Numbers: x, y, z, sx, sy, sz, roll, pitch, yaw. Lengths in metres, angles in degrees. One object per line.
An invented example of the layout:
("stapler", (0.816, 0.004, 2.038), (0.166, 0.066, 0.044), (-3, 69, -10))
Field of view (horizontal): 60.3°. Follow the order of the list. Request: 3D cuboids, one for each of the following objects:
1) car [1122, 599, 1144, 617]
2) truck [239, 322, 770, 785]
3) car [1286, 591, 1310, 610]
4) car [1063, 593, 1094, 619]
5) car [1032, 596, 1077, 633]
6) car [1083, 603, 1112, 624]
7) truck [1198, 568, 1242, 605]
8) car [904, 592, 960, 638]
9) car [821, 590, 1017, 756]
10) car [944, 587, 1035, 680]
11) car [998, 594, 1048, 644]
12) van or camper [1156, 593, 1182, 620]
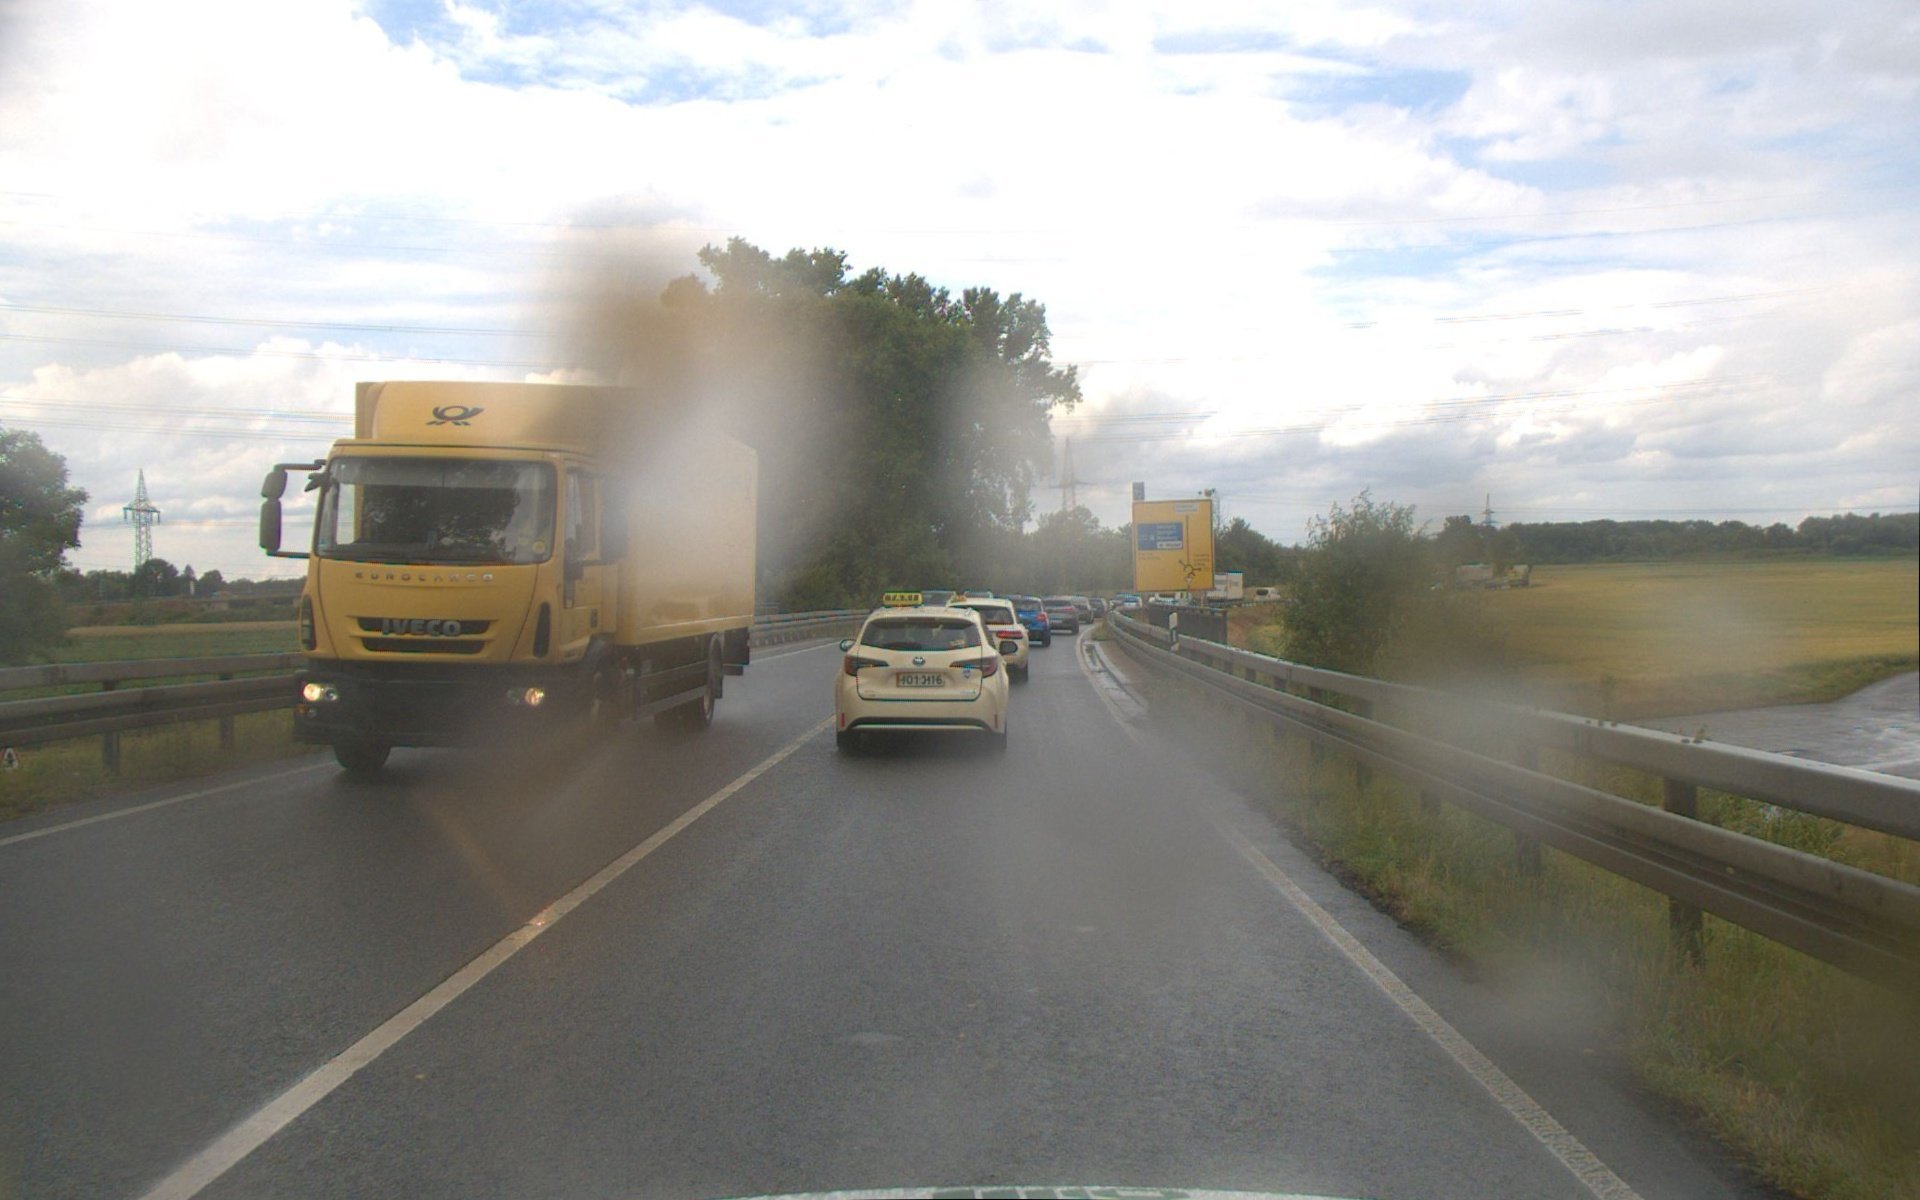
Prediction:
("car", (13.090, 0.636, 125.235), (1.451, 1.332, 3.479), (0, 0, 9))
("truck", (-4.015, -0.376, 17.250), (2.713, 3.489, 9.189), (1, 0, 1))
("car", (41.903, 0.069, 205.118), (1.954, 2.049, 3.996), (-3, -3, 25))
("car", (6.772, 0.347, 94.339), (1.625, 1.434, 3.907), (0, -1, 6))
("car", (3.882, 0.582, 67.478), (1.630, 1.490, 3.479), (0, 0, 7))
("car", (8.964, 0.898, 107.698), (1.451, 1.332, 3.479), (0, 0, 12))
("truck", (26.705, -1.310, 169.724), (3.075, 3.624, 7.522), (0, -1, 20))
("car", (-1.065, 0.543, 64.196), (1.709, 1.682, 4.527), (0, 1, 5))
("car", (-0.321, 0.701, 17.859), (1.866, 1.564, 4.162), (0, 0, 2))
("car", (0.591, 0.584, 30.491), (1.545, 1.600, 3.682), (0, 0, 3))
("car", (1.959, 0.583, 50.992), (1.474, 1.462, 3.357), (1, 0, 3))
("van or camper", (18.201, 0.597, 144.174), (1.951, 2.293, 4.003), (1, -1, 11))
